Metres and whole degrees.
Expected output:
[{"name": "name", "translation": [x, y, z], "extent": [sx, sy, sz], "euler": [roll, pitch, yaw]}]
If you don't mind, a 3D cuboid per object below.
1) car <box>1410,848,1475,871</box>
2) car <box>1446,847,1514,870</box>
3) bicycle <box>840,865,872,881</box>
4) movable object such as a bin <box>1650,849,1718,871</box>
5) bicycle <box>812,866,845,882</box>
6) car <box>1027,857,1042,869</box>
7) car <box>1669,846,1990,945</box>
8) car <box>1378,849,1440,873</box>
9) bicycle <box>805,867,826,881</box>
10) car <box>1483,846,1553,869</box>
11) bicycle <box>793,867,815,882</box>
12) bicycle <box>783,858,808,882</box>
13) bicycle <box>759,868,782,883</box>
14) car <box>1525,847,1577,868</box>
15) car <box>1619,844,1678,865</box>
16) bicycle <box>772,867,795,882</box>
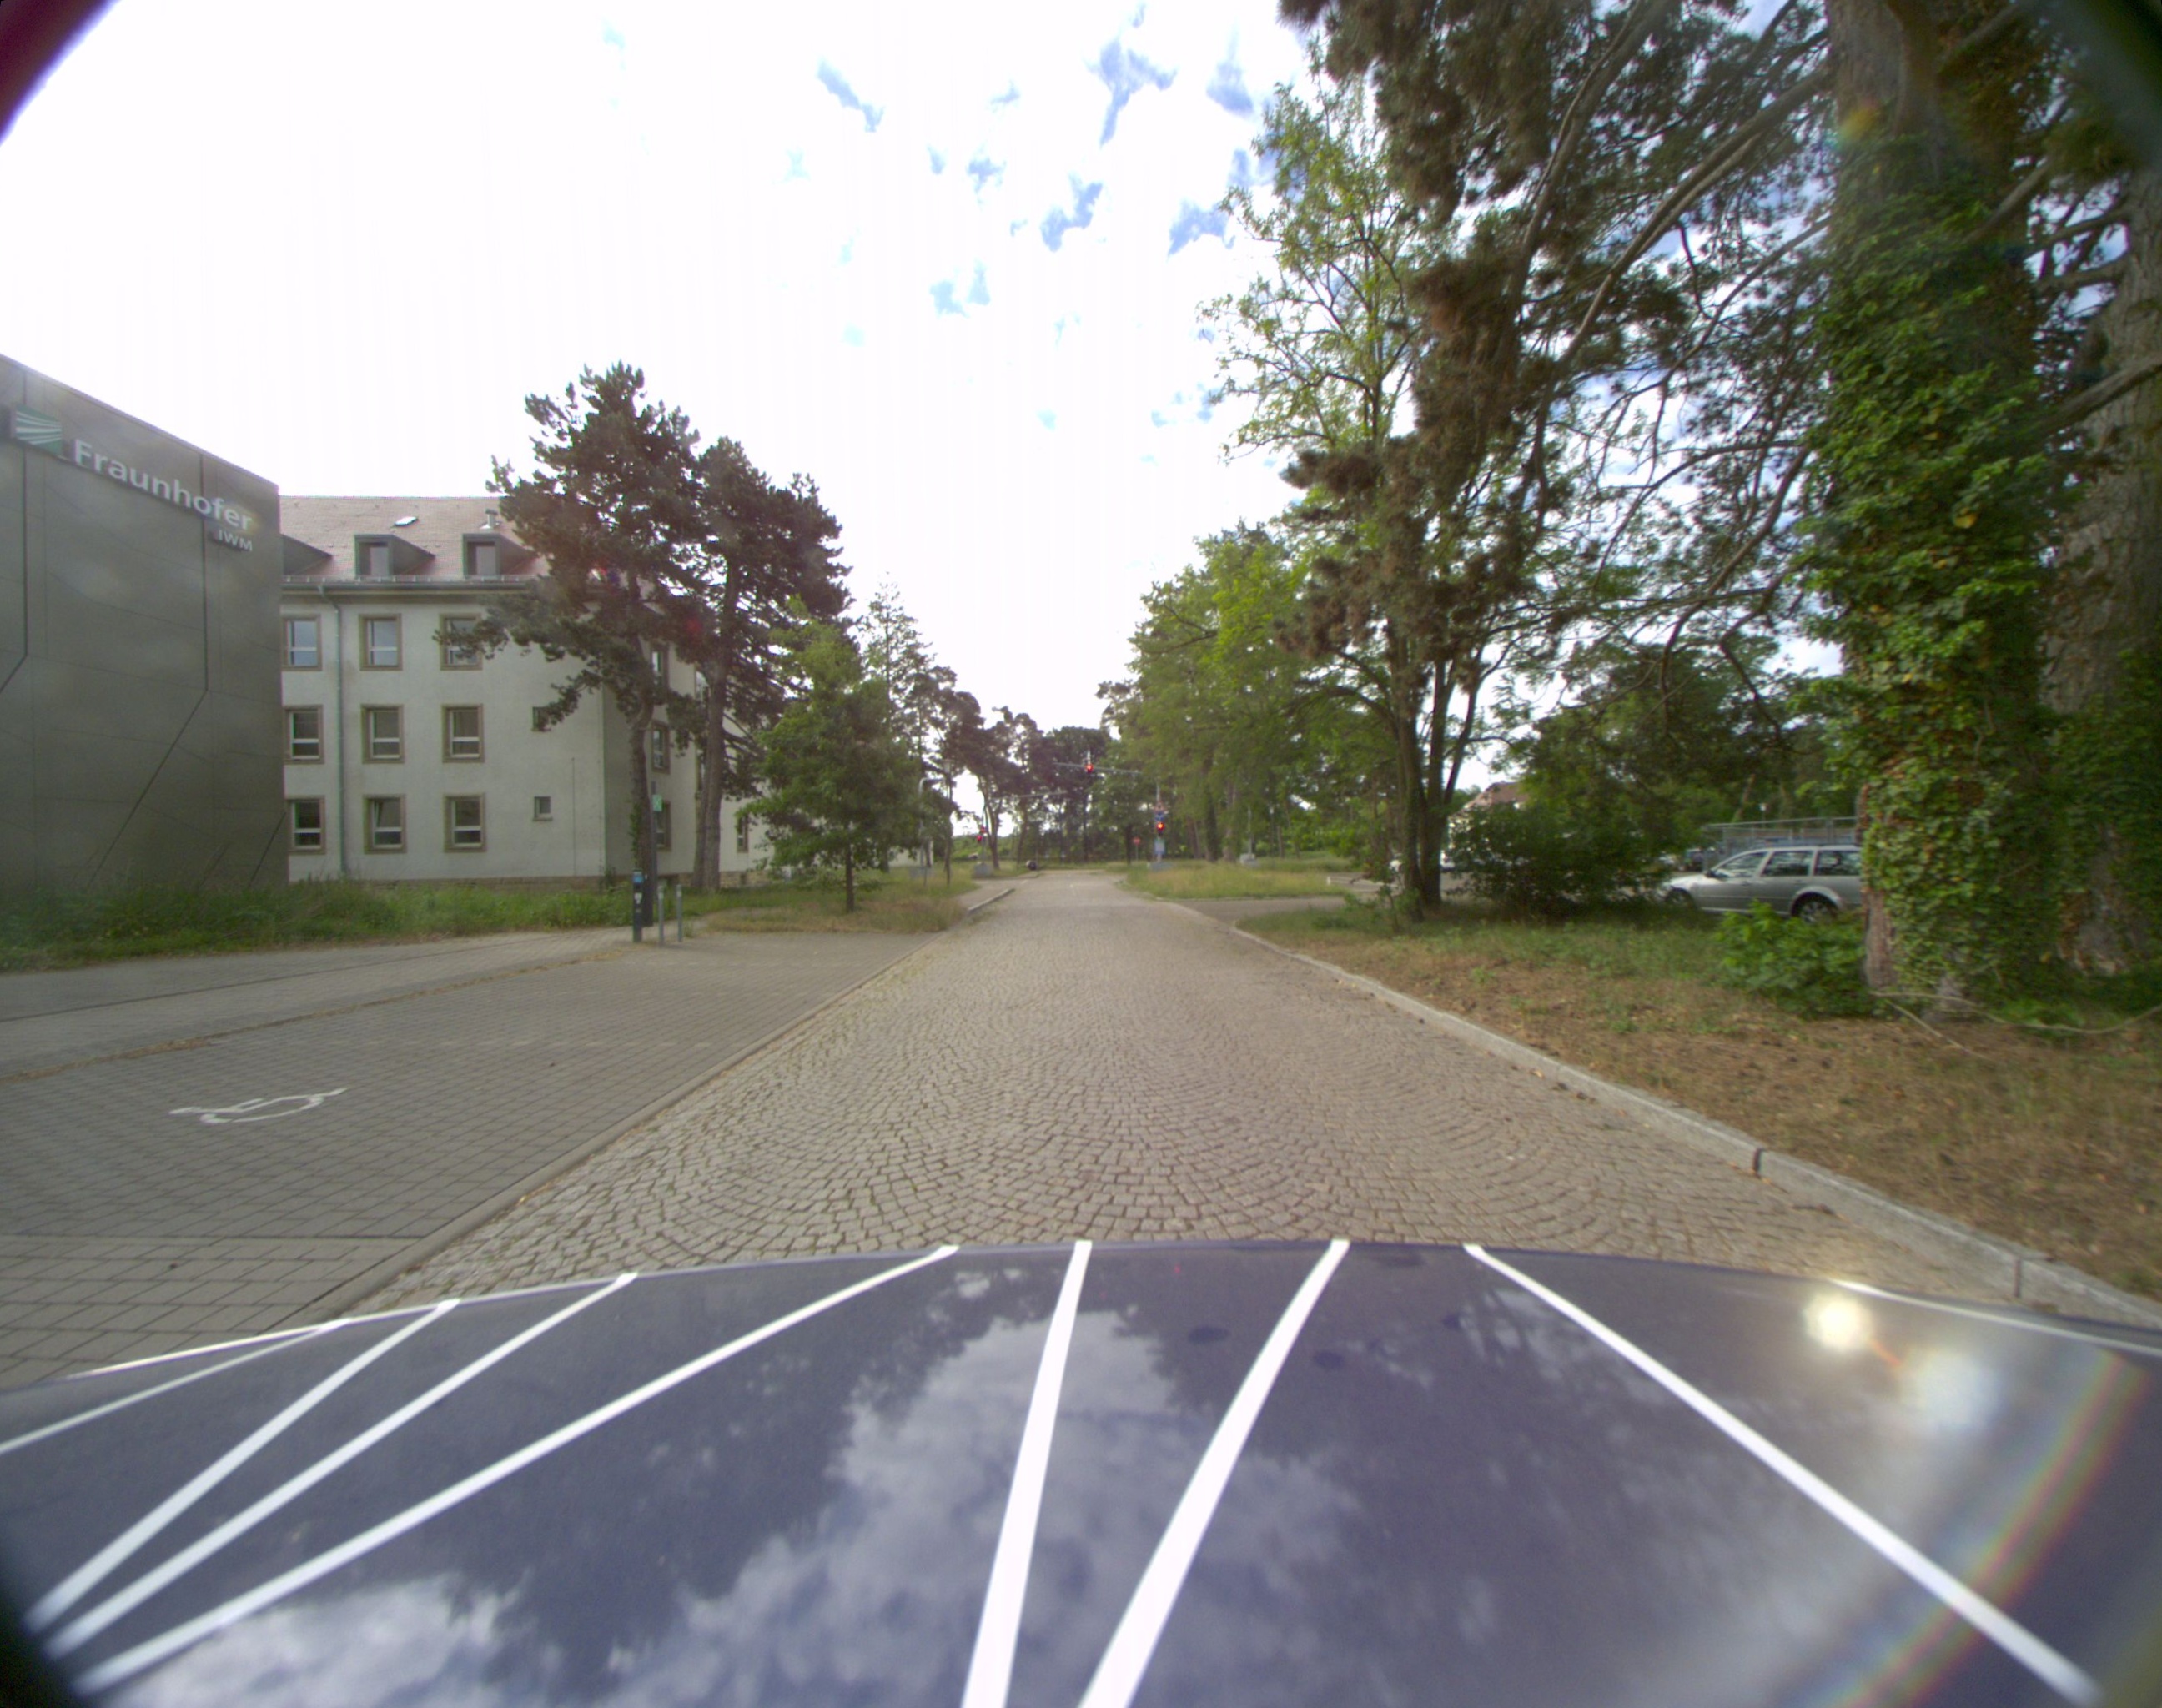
[{"name": "car", "translation": [24.258, 0.385, 51.132], "extent": [1.999, 1.441, 4.451], "euler": [-1, 0, -4]}, {"name": "car", "translation": [26.838, 0.315, 51.276], "extent": [1.999, 1.441, 4.451], "euler": [-1, 0, -4]}, {"name": "bicycle", "translation": [-16.642, 1.406, 56.296], "extent": [2.165, 1.088, 0.717], "euler": [-1, 0, -4]}, {"name": "movable object such as a bin", "translation": [30.944, 0.306, 39.072], "extent": [1.057, 1.064, 2.719], "euler": [-1, 0, -10]}, {"name": "bicycle", "translation": [-18.725, 1.479, 56.316], "extent": [2.165, 1.051, 0.717], "euler": [-1, 0, -4]}, {"name": "car", "translation": [-7.010, 1.374, 113.790], "extent": [2.000, 1.777, 3.997], "euler": [-1, 0, -7]}, {"name": "car", "translation": [12.297, 0.605, 12.870], "extent": [1.670, 1.402, 3.722], "euler": [-1, 0, -3]}, {"name": "car", "translation": [21.759, 0.456, 50.608], "extent": [1.999, 1.441, 4.451], "euler": [-1, 0, -4]}, {"name": "bicycle", "translation": [-20.035, 1.502, 57.367], "extent": [0.800, 1.051, 2.166], "euler": [-1, 0, 2]}, {"name": "car", "translation": [29.710, 0.234, 51.856], "extent": [1.999, 1.441, 4.451], "euler": [-1, 0, -4]}, {"name": "bicycle", "translation": [-20.885, 1.521, 57.360], "extent": [0.800, 1.051, 2.199], "euler": [-1, 0, 2]}, {"name": "bicycle", "translation": [-21.658, 1.202, 57.678], "extent": [0.905, 1.721, 2.199], "euler": [-1, 0, 2]}, {"name": "bicycle", "translation": [-23.363, 1.591, 57.232], "extent": [0.800, 1.051, 2.166], "euler": [-1, 0, 2]}, {"name": "car", "translation": [38.383, 0.276, 62.151], "extent": [1.611, 1.674, 3.802], "euler": [-1, 0, -6]}, {"name": "car", "translation": [46.653, 0.055, 62.516], "extent": [1.749, 1.674, 3.802], "euler": [-1, 0, -6]}, {"name": "bicycle", "translation": [-22.498, 1.562, 57.576], "extent": [0.800, 1.051, 2.199], "euler": [-1, 0, 2]}]
